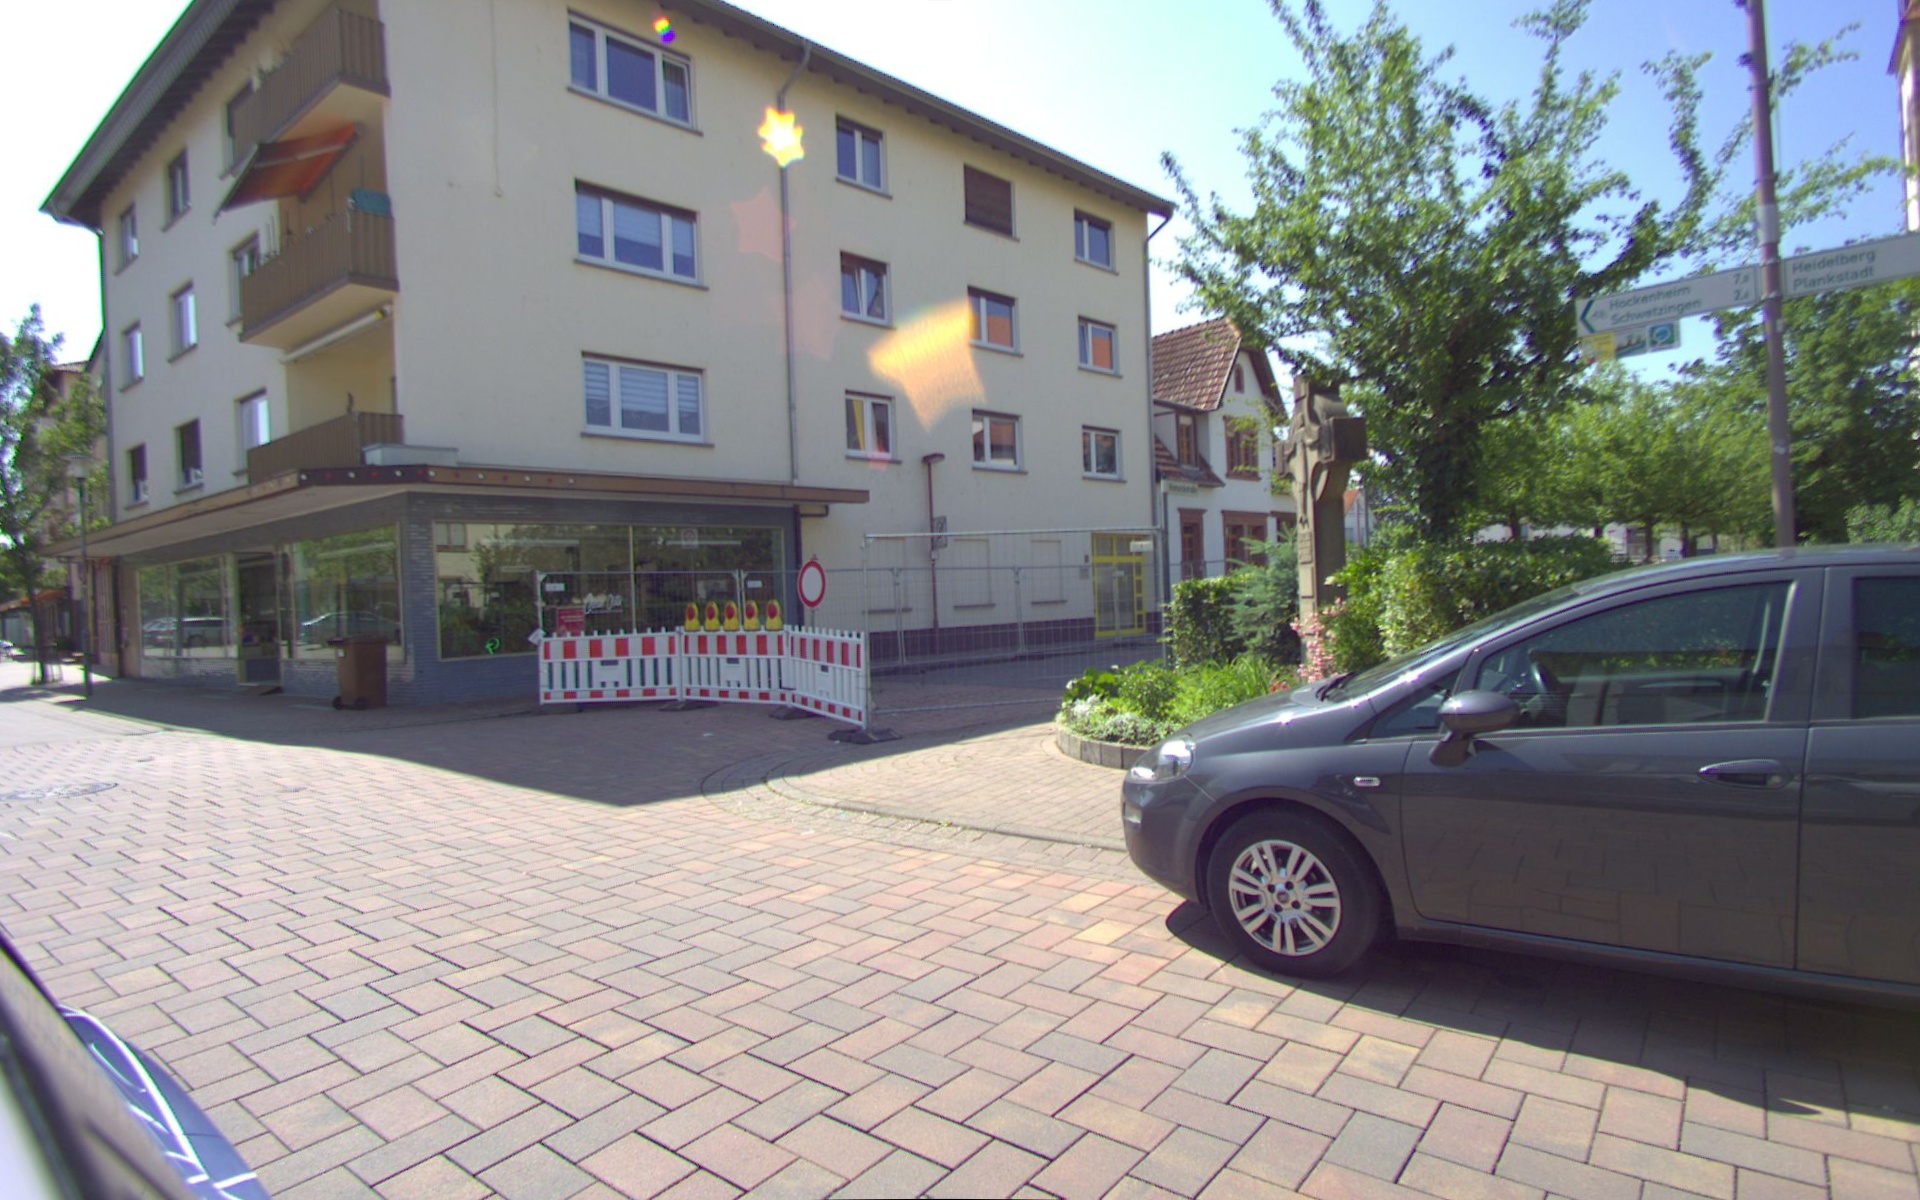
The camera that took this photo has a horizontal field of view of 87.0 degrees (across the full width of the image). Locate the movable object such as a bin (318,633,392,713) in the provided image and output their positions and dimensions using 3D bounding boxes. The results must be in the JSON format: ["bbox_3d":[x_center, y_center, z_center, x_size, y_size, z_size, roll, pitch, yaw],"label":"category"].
[{"bbox_3d":[-8.732,1.045,14.611,0.662,1.078,0.650,-2,1,33],"label":"movable object such as a bin"}]

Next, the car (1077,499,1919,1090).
[{"bbox_3d":[2.530,0.491,3.548,3.848,1.508,1.688,-2,0,35],"label":"car"}]
